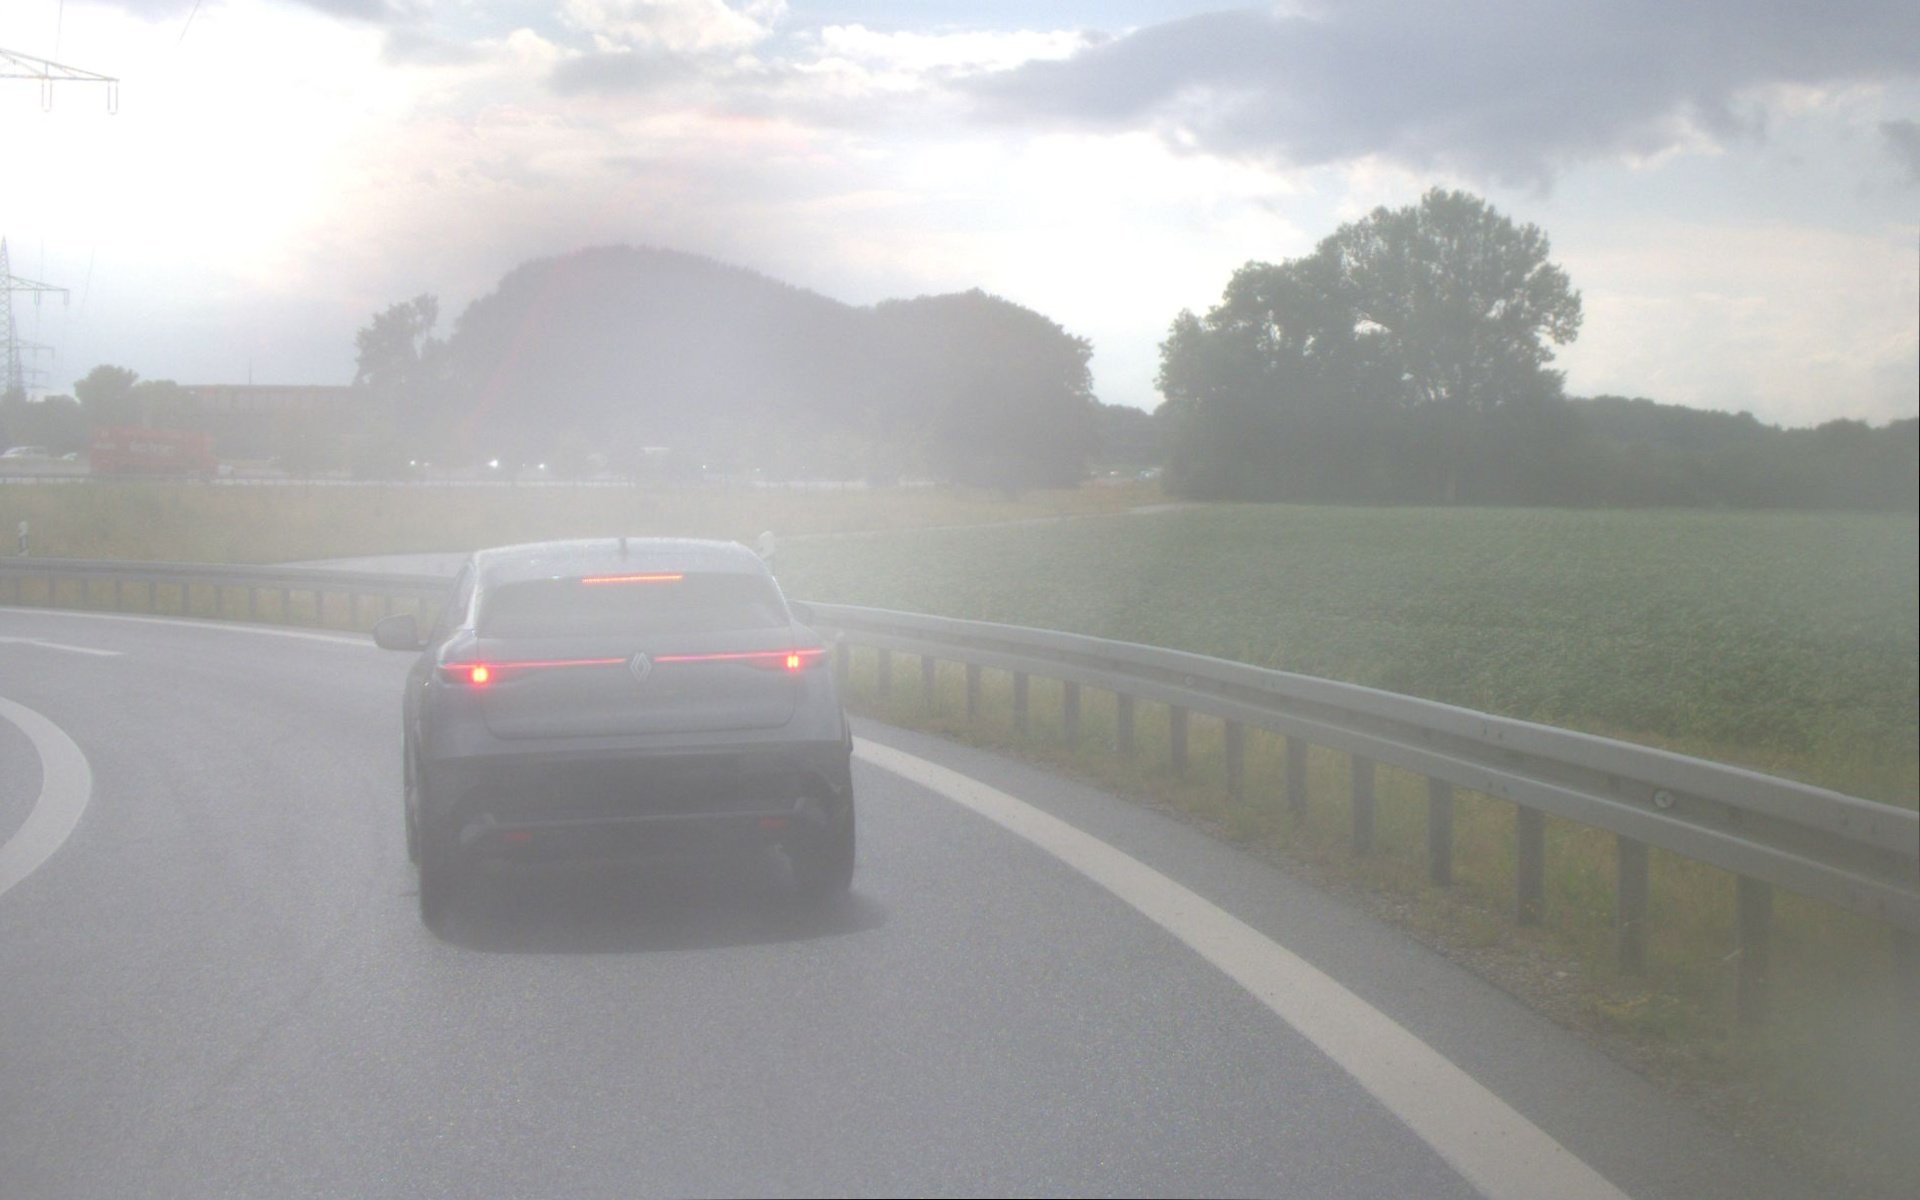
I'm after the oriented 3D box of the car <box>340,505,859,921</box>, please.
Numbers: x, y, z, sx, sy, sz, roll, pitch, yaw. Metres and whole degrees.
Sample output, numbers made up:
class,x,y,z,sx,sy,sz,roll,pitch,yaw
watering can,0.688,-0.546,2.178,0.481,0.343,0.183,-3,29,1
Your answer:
class,x,y,z,sx,sy,sz,roll,pitch,yaw
car,-1.657,0.383,15.601,1.993,1.561,4.150,-2,2,-7
